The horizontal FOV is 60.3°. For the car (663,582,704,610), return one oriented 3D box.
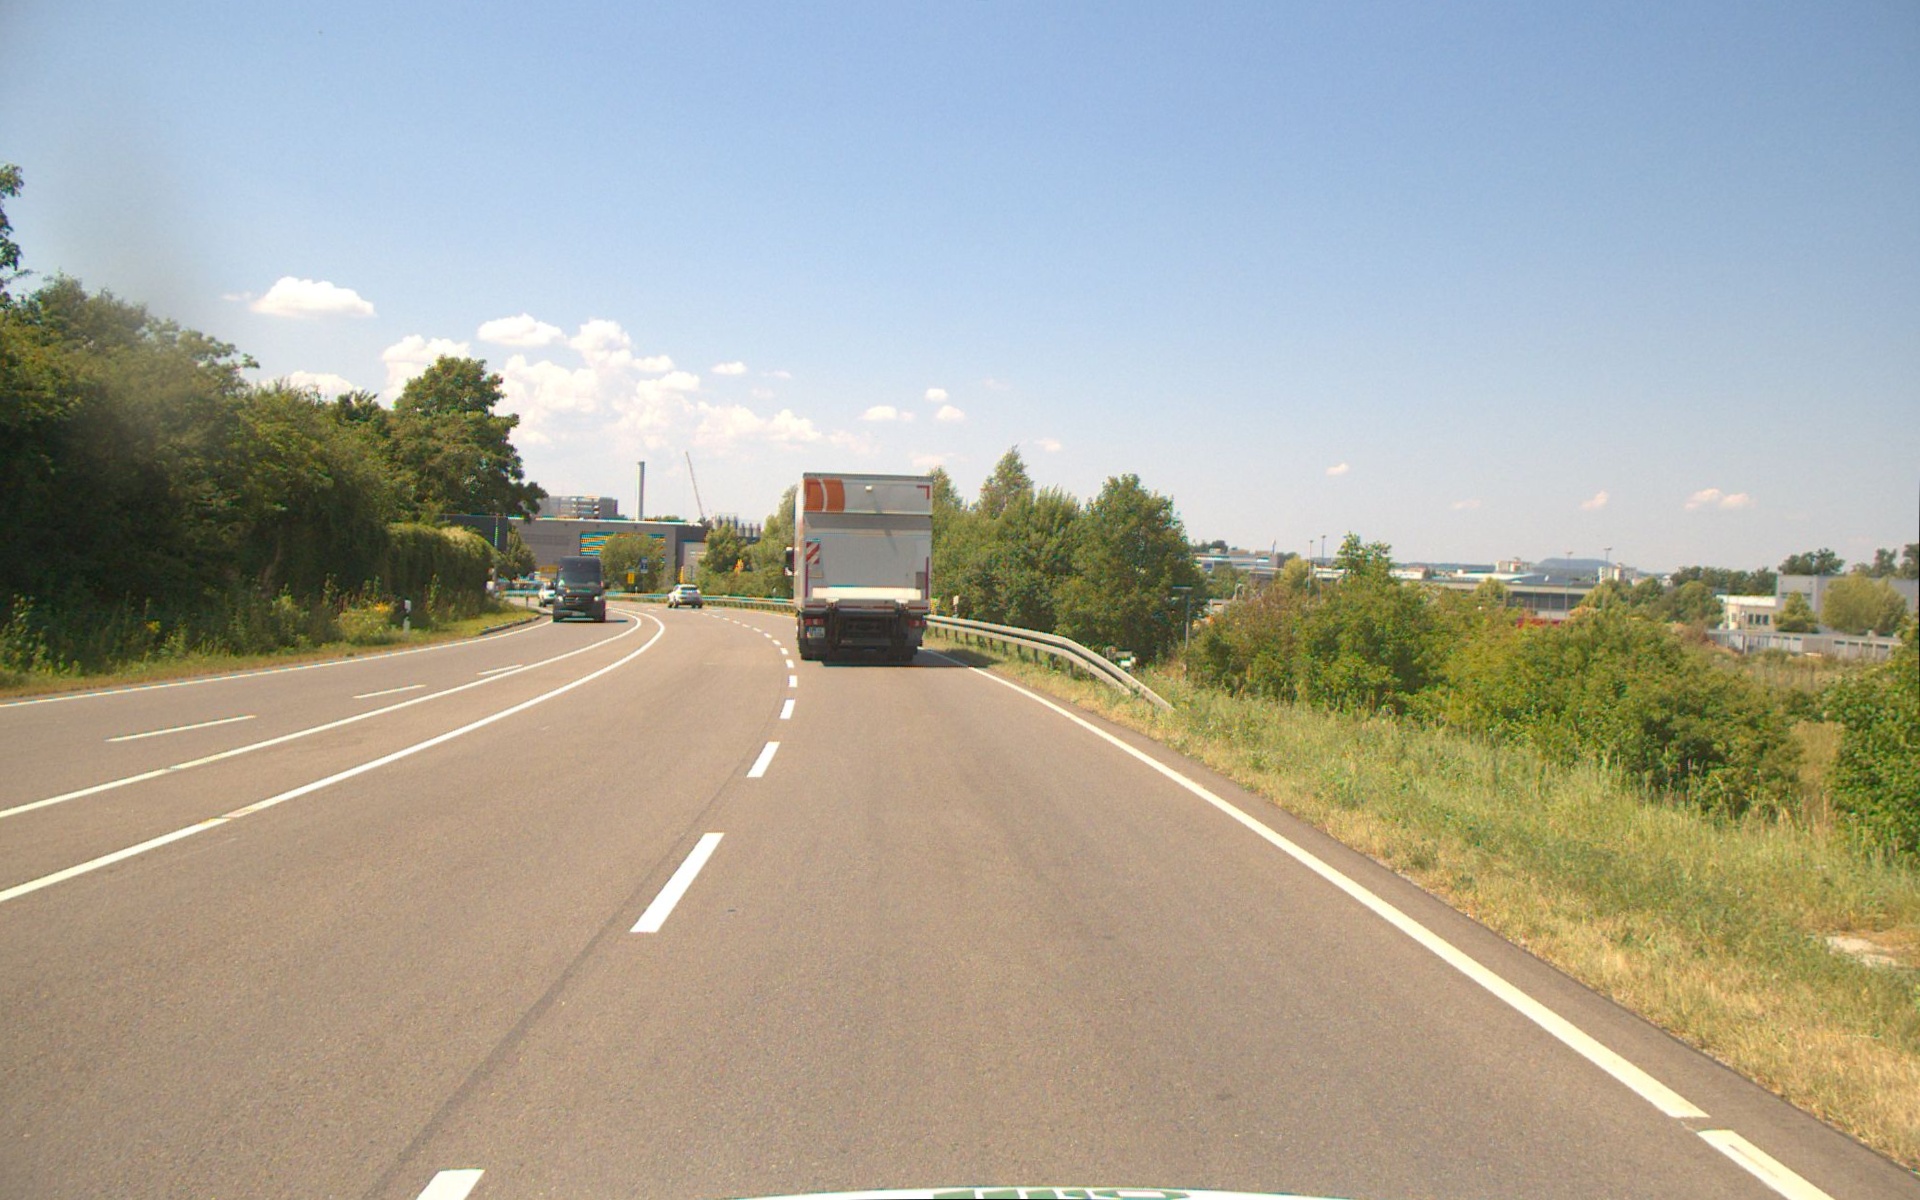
[{"bbox_3d":[-17.973,-0.276,107.462,1.914,1.693,3.978,3,-1,-19],"label":"car"}]

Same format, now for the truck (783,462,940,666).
[{"bbox_3d":[-2.333,-0.736,35.710,2.750,3.775,9.094,1,1,-7],"label":"truck"}]

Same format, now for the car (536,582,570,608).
[{"bbox_3d":[-27.486,-0.347,111.642,1.962,1.657,4.177,0,0,-17],"label":"car"}]

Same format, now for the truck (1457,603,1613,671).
[{"bbox_3d":[37.938,2.374,109.257,9.214,3.747,3.126,4,2,29],"label":"truck"}]

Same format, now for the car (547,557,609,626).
[{"bbox_3d":[-15.284,-0.356,66.406,2.149,2.586,6.020,2,0,-11],"label":"car"}]
